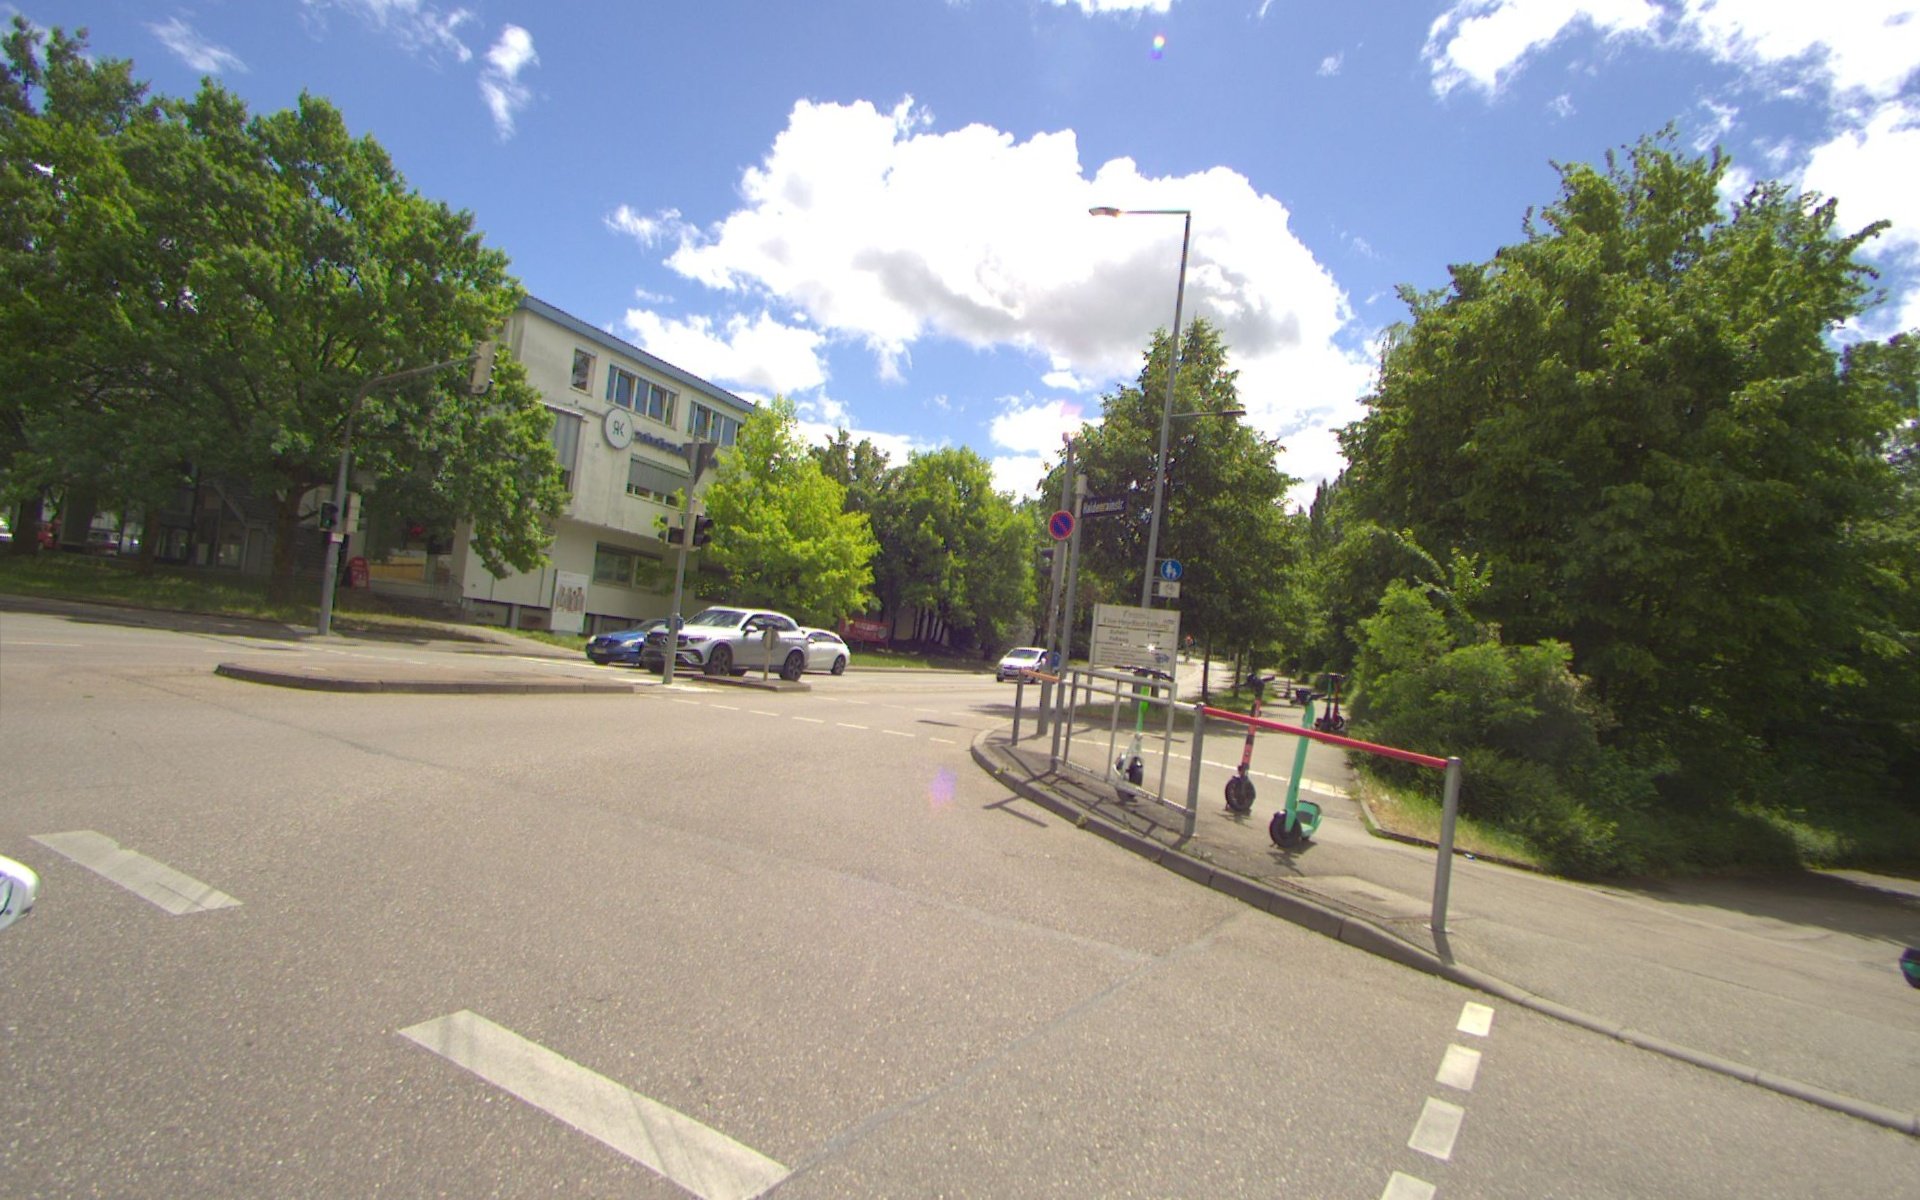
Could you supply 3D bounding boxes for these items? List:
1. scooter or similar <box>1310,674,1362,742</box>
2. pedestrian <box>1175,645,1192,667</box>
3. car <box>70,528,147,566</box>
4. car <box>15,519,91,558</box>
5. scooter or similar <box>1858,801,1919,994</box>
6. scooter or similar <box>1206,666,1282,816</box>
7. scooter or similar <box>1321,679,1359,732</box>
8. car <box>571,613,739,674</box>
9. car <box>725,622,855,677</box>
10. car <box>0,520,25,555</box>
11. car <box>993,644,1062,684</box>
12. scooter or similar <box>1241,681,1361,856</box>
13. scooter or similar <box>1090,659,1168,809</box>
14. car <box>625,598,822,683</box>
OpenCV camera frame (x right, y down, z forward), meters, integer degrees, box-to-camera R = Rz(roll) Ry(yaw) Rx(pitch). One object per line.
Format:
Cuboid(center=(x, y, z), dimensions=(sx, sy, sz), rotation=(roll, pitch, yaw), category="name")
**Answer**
Cuboid(center=(7.189, 2.056, 19.198), dimensions=(0.515, 1.196, 1.172), rotation=(6, -1, 36), category="scooter or similar")
Cuboid(center=(26.343, 6.611, 118.450), dimensions=(1.315, 2.446, 1.408), rotation=(7, -1, 30), category="pedestrian")
Cuboid(center=(-44.974, -2.782, 53.111), dimensions=(3.932, 1.487, 1.747), rotation=(6, -2, 30), category="car")
Cuboid(center=(-45.860, -3.123, 50.833), dimensions=(3.934, 1.460, 1.746), rotation=(6, -2, 32), category="car")
Cuboid(center=(7.115, 2.164, 6.965), dimensions=(0.526, 1.305, 1.213), rotation=(11, -4, -1), category="scooter or similar")
Cuboid(center=(2.663, 1.272, 9.374), dimensions=(0.471, 1.249, 1.186), rotation=(7, -1, 20), category="scooter or similar")
Cuboid(center=(8.341, 2.321, 22.079), dimensions=(0.404, 1.086, 1.112), rotation=(7, -1, 36), category="scooter or similar")
Cuboid(center=(-7.647, 1.154, 25.623), dimensions=(1.879, 1.239, 3.972), rotation=(4, -3, 24), category="car")
Cuboid(center=(-5.238, 1.593, 31.667), dimensions=(1.916, 1.431, 4.405), rotation=(4, -3, 23), category="car")
Cuboid(center=(-47.670, -3.216, 49.109), dimensions=(3.934, 1.508, 1.944), rotation=(6, -2, 32), category="car")
Cuboid(center=(2.828, 2.670, 41.339), dimensions=(1.579, 1.428, 3.900), rotation=(4, -3, 23), category="car")
Cuboid(center=(2.681, 1.281, 7.839), dimensions=(0.442, 1.209, 1.168), rotation=(7, -1, 36), category="scooter or similar")
Cuboid(center=(1.572, 1.216, 9.489), dimensions=(0.470, 1.249, 1.212), rotation=(7, -1, 4), category="scooter or similar")
Cuboid(center=(-5.294, 1.001, 23.231), dimensions=(1.889, 1.610, 4.656), rotation=(4, -3, 24), category="car")
